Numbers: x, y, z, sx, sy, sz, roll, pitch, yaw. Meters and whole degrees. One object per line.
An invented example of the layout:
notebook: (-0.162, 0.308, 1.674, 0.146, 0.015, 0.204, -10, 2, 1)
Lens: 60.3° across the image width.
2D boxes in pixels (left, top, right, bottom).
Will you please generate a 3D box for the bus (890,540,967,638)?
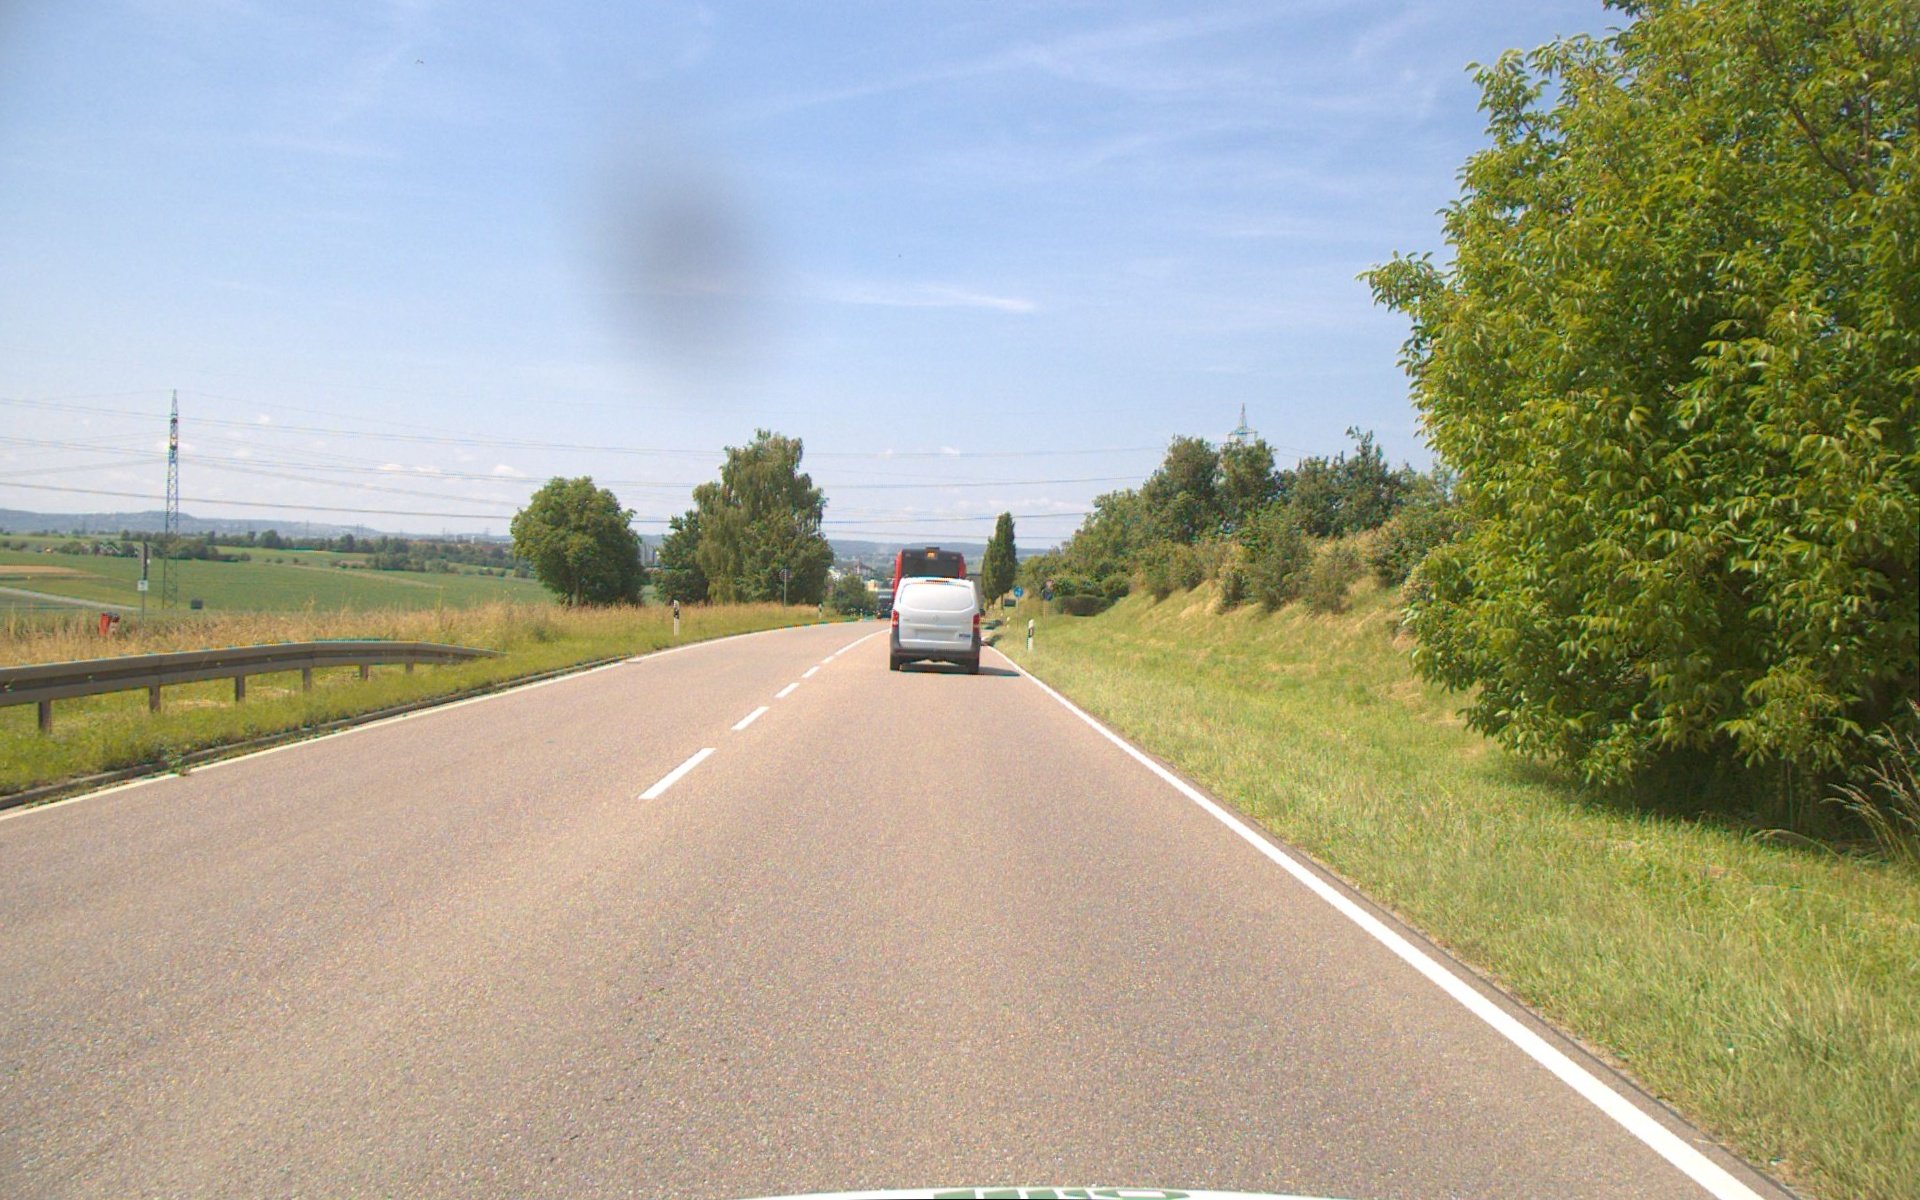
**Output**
bus: (-1.174, -0.537, 64.163, 2.691, 3.411, 13.221, 0, 1, -1)

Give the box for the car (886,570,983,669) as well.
car: (-0.522, 0.385, 34.806, 1.884, 1.922, 3.999, 1, 0, -1)

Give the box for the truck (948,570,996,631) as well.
truck: (0.867, 0.071, 130.425, 3.417, 4.501, 14.900, 1, 0, -1)

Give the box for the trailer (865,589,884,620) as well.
trailer: (-12.282, 0.649, 238.078, 2.541, 4.215, 13.733, 2, 0, -3)

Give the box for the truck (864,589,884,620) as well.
truck: (-11.918, 0.593, 230.050, 2.533, 4.176, 5.439, 2, -1, -2)
